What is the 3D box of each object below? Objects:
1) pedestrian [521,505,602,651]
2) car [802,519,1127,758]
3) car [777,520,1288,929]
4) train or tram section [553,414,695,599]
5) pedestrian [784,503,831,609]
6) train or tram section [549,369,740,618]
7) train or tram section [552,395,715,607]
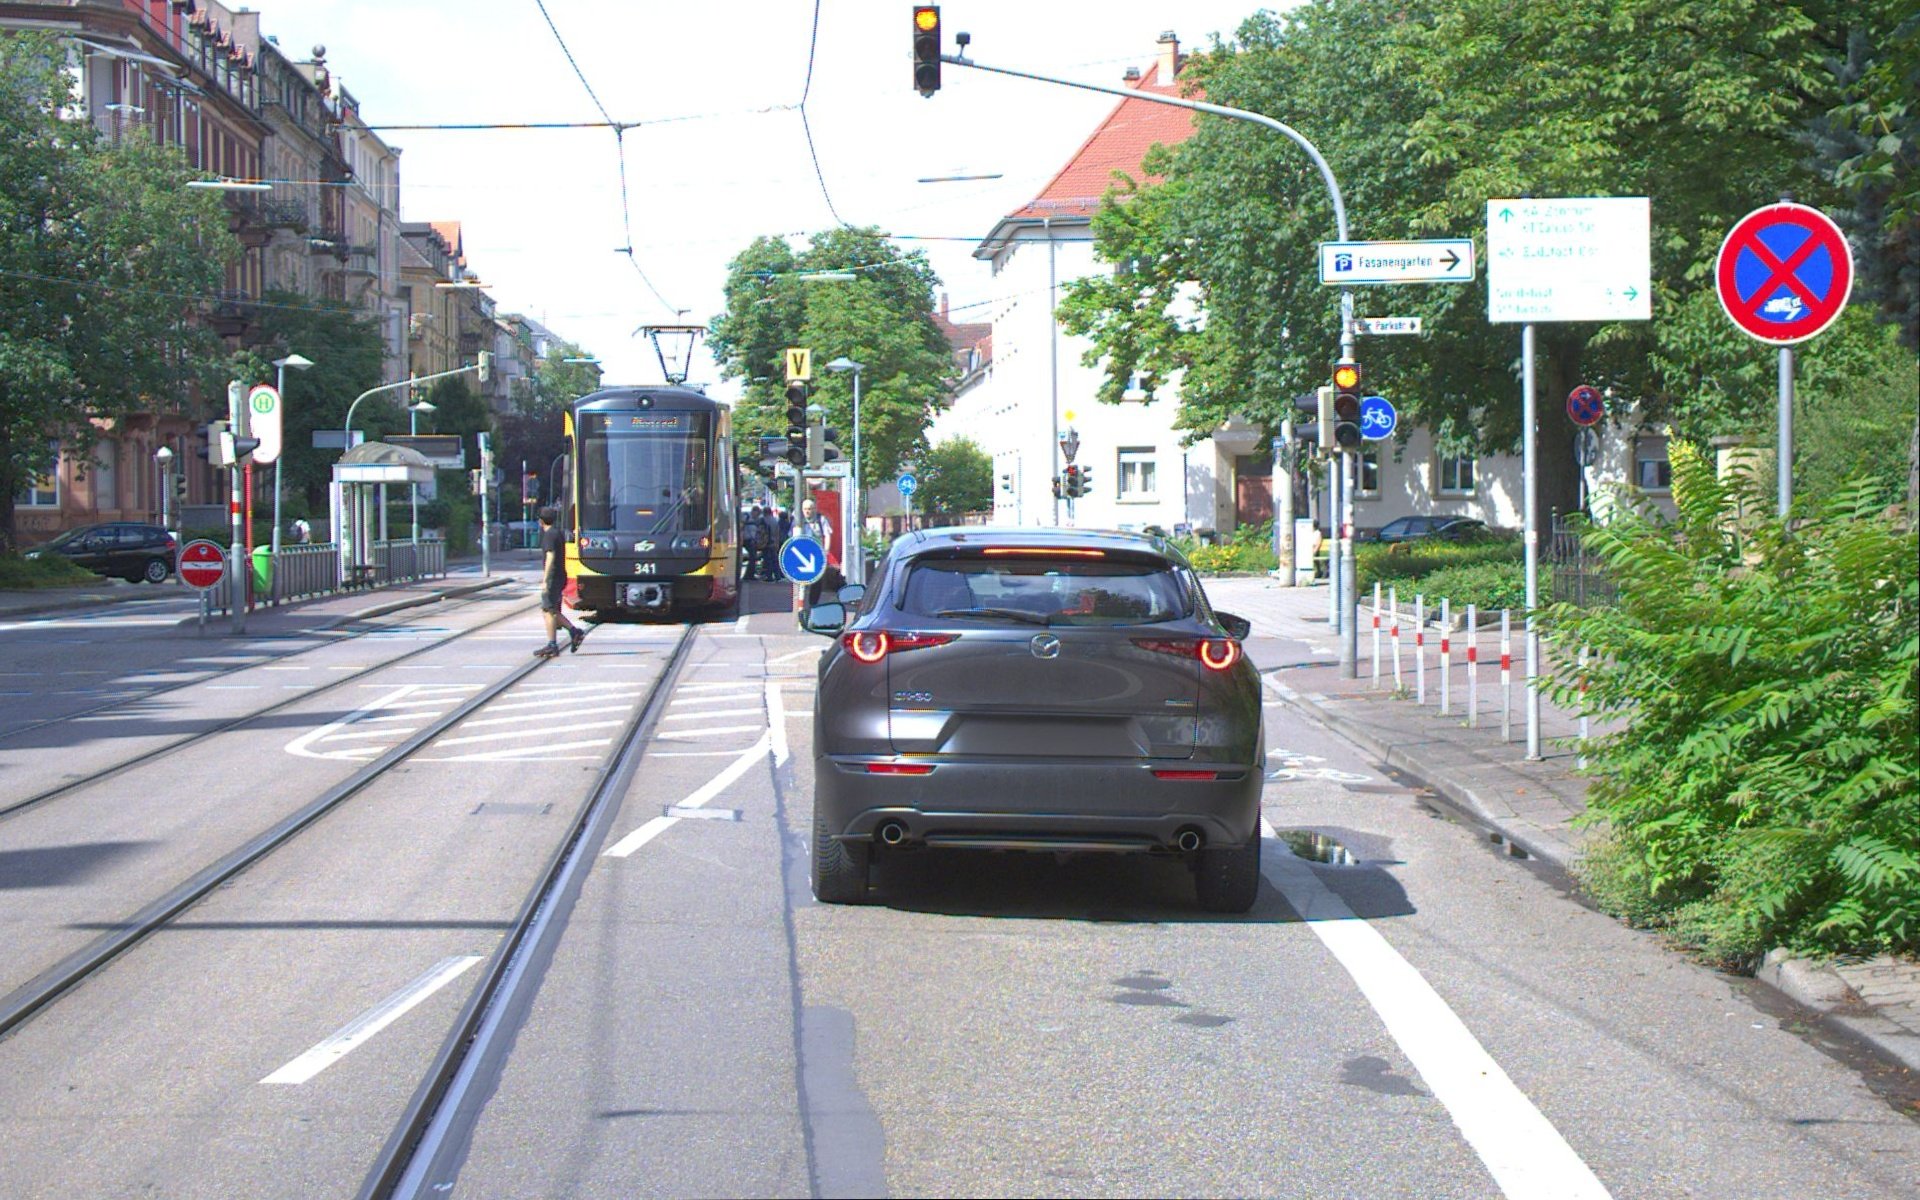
[{"bbox_3d":[-4.428,-0.251,38.219,0.874,1.599,0.632,0,1,-6],"label":"pedestrian"},{"bbox_3d":[-0.077,0.187,24.355,1.784,1.487,4.884,-1,2,-6],"label":"car"},{"bbox_3d":[0.162,0.423,15.087,1.789,1.507,4.352,1,1,-5],"label":"car"},{"bbox_3d":[-6.937,-1.864,70.315,2.651,3.515,8.498,-1,1,-7],"label":"train or tram section"},{"bbox_3d":[-2.326,-0.673,52.408,0.667,1.599,0.700,0,1,-5],"label":"pedestrian"},{"bbox_3d":[-4.992,-1.589,53.433,2.651,3.515,8.498,-1,1,-7],"label":"train or tram section"},{"bbox_3d":[-5.962,-1.731,61.859,2.651,3.515,8.498,-1,1,-7],"label":"train or tram section"}]
